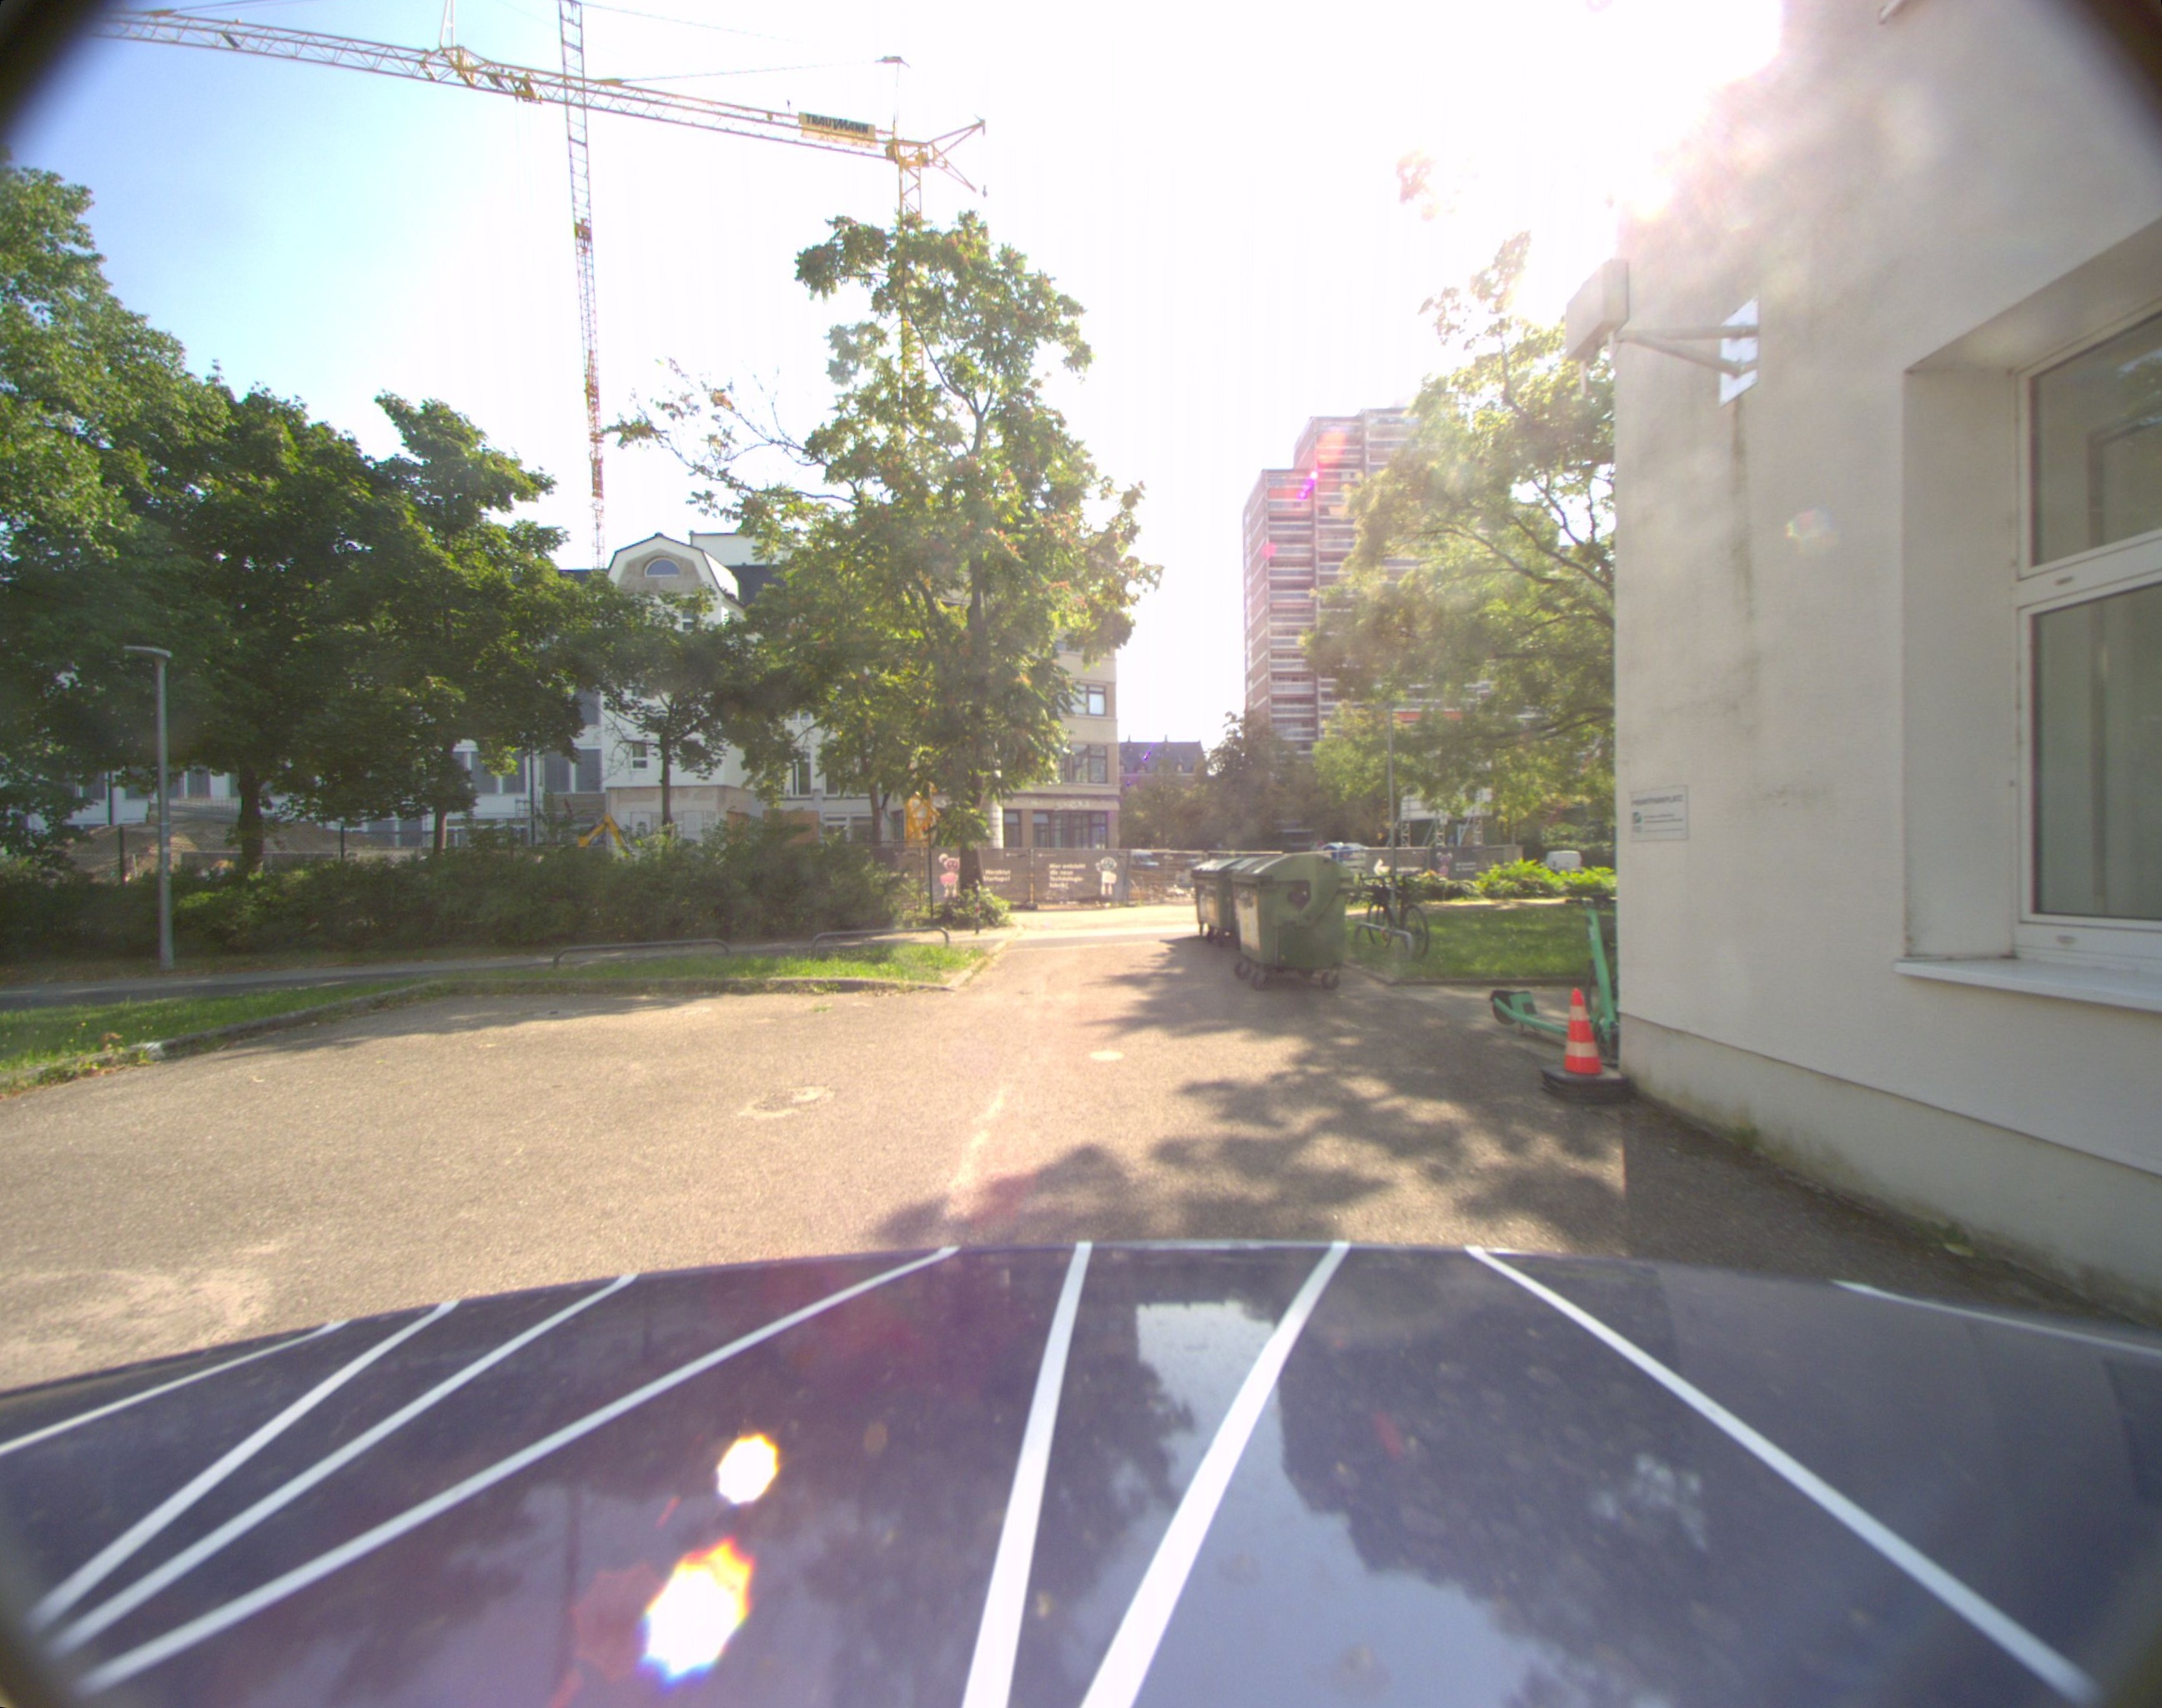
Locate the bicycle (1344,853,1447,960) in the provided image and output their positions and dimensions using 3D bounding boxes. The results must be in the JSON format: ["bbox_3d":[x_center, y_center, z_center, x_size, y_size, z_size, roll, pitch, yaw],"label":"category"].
[{"bbox_3d":[4.024,0.612,9.873,0.477,1.206,2.008,-2,1,0],"label":"bicycle"}]

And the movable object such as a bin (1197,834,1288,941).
[{"bbox_3d":[2.719,0.527,12.976,1.184,1.696,1.376,-2,1,-3],"label":"movable object such as a bin"}]

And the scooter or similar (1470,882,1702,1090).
[{"bbox_3d":[3.638,0.873,5.618,0.386,1.255,1.493,-2,1,-19],"label":"scooter or similar"}]

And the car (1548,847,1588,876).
[{"bbox_3d":[33.252,0.503,51.962,1.861,1.893,4.007,-1,0,26],"label":"car"}]

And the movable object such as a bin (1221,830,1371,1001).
[{"bbox_3d":[2.308,0.614,8.377,1.184,1.696,1.376,-2,1,-3],"label":"movable object such as a bin"}]

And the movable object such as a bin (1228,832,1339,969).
[{"bbox_3d":[2.656,0.575,10.171,1.183,1.696,1.395,-1,1,5],"label":"movable object such as a bin"}]

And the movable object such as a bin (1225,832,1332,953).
[{"bbox_3d":[2.962,0.543,11.574,1.184,1.696,1.376,-2,1,-3],"label":"movable object such as a bin"}]

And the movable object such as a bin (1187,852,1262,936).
[{"bbox_3d":[2.693,0.724,14.380,1.037,1.489,1.106,-2,1,-10],"label":"movable object such as a bin"}]

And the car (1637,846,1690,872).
[{"bbox_3d":[36.234,0.302,47.356,1.861,1.534,4.007,-1,0,26],"label":"car"}]
